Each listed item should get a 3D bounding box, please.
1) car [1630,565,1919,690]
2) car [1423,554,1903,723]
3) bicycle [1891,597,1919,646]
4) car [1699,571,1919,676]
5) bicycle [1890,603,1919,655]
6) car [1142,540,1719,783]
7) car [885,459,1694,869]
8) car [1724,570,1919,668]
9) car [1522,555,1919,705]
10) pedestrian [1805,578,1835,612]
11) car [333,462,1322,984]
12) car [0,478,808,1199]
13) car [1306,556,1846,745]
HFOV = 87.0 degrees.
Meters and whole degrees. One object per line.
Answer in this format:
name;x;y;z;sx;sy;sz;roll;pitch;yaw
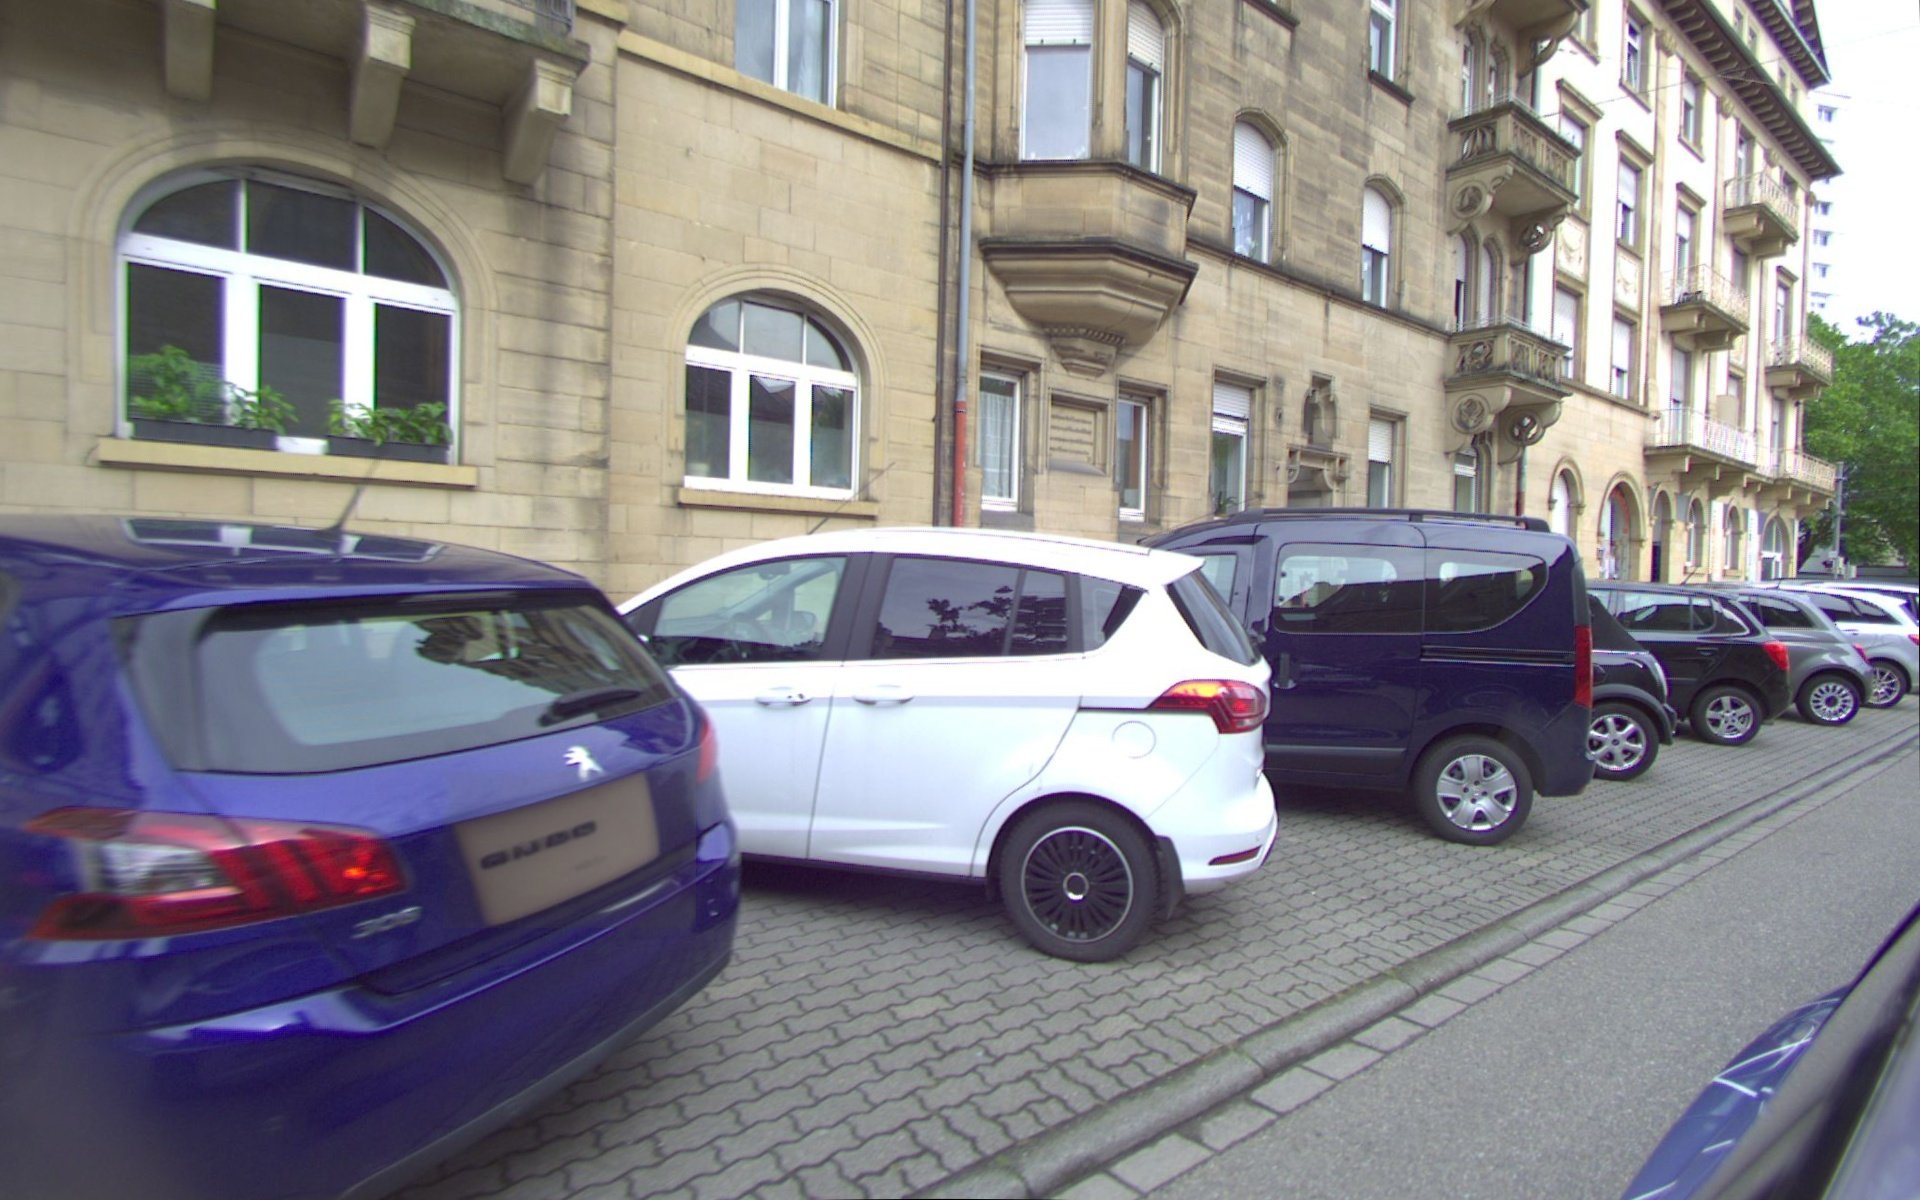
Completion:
car;13.540;0.385;16.249;4.169;1.702;1.906;3;3;18
car;8.358;0.373;12.503;4.399;1.593;1.741;4;3;13
bicycle;23.256;0.559;24.017;0.468;1.140;1.572;-1;6;-39
car;15.674;0.402;17.972;3.531;1.526;1.845;4;4;10
bicycle;22.588;0.719;23.331;0.468;1.140;1.572;-1;6;-39
car;3.702;0.367;8.795;4.011;1.470;2.025;5;4;13
car;1.833;0.253;6.591;4.215;1.929;1.875;4;3;10
car;17.673;0.387;19.835;3.767;1.579;1.794;4;5;5
car;10.911;0.341;14.347;4.686;1.705;1.928;4;4;16
pedestrian;43.765;-0.262;51.532;0.727;1.716;0.881;0;2;-13
car;-0.561;0.347;4.790;3.939;1.620;1.760;5;3;12
car;-2.681;0.433;2.972;3.956;1.552;1.918;5;3;22
car;6.093;0.406;10.637;4.398;1.571;1.845;3;2;13
